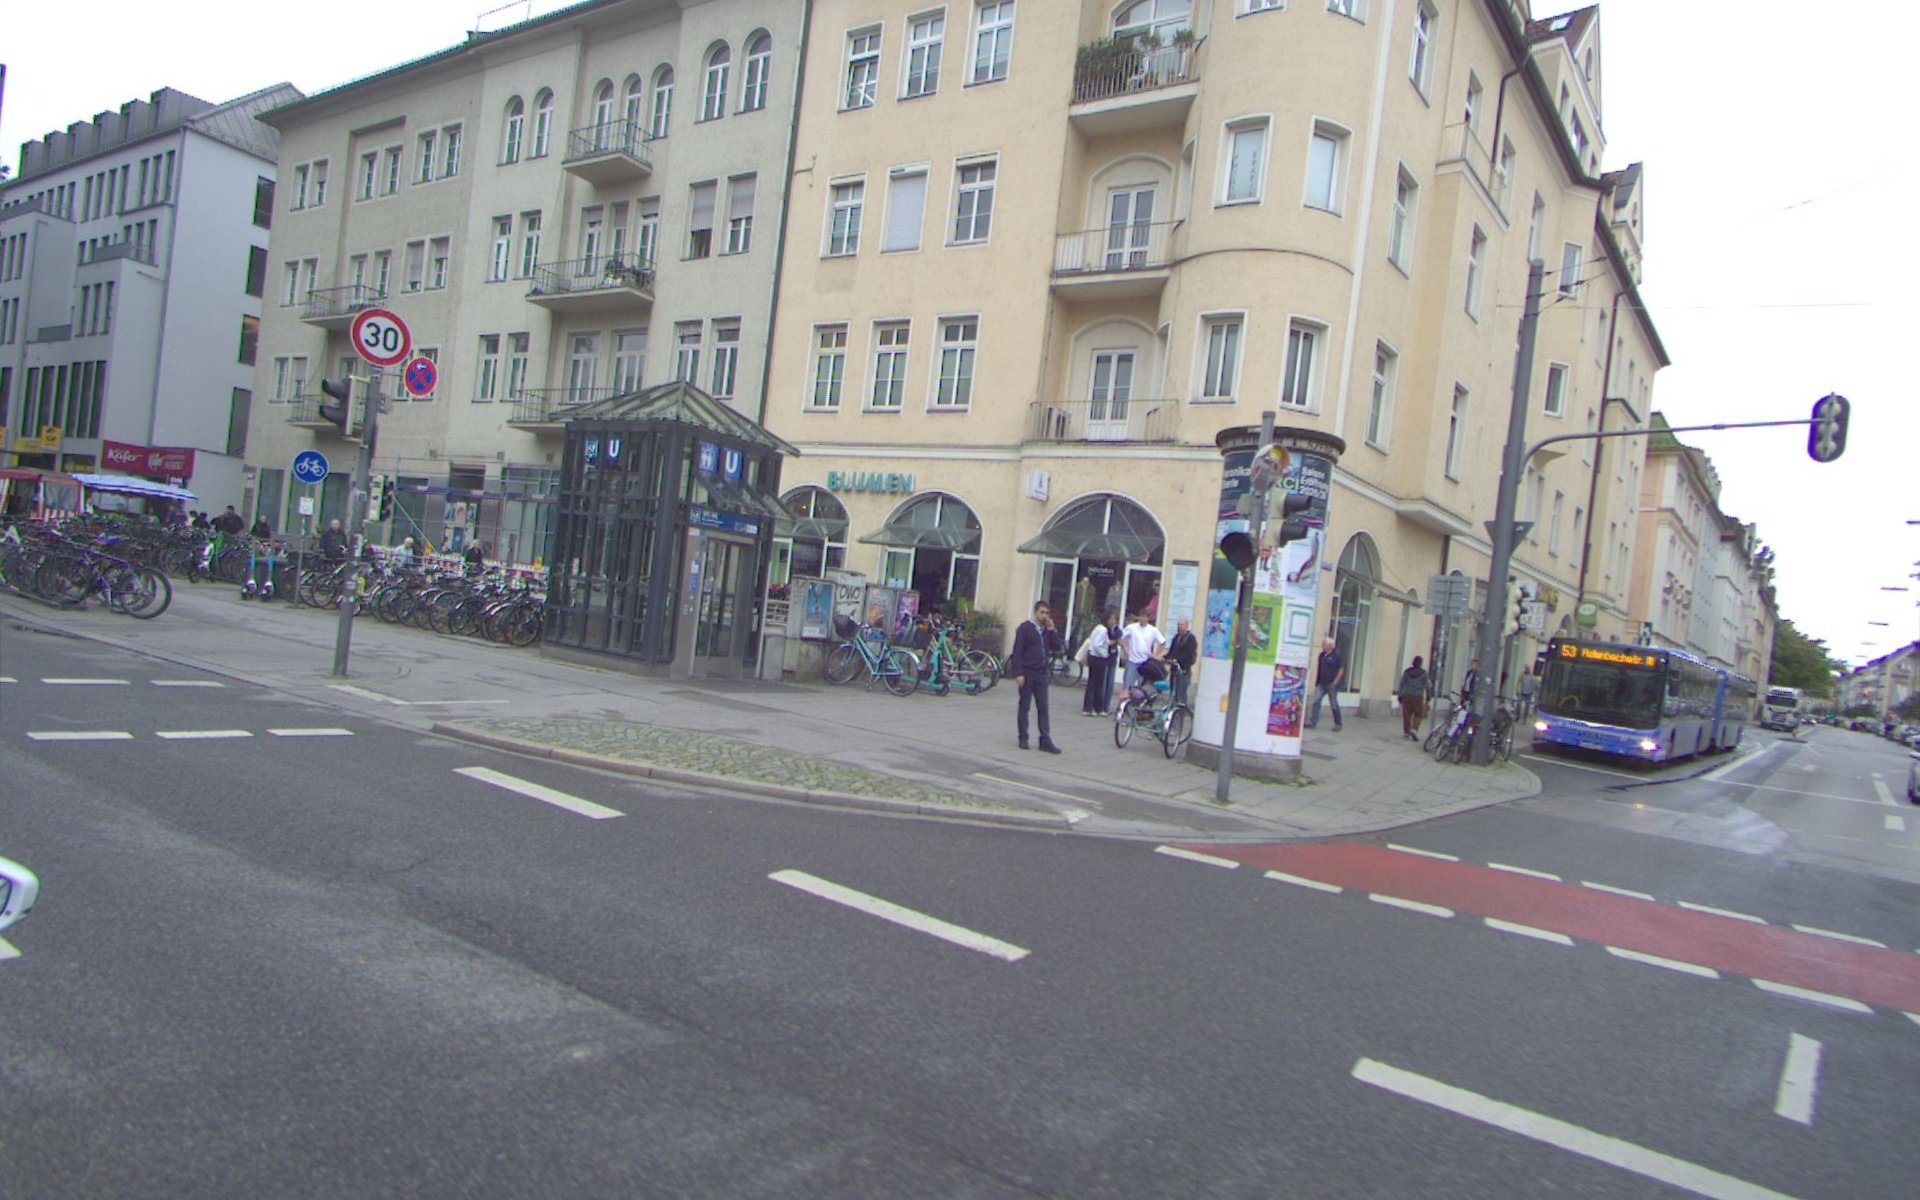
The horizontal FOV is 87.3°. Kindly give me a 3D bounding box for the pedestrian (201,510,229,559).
[{"bbox_3d":[-24.151,-2.119,32.607,0.501,1.502,0.462,6,1,-23],"label":"pedestrian"}]

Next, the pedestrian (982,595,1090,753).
[{"bbox_3d":[0.882,0.852,11.850,0.825,1.712,0.815,6,1,-21],"label":"pedestrian"}]

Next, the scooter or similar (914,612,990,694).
[{"bbox_3d":[-0.136,0.893,17.005,1.133,1.242,0.288,7,1,23],"label":"scooter or similar"}]

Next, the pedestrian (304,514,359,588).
[{"bbox_3d":[-15.993,-1.247,25.601,0.746,1.750,0.813,7,2,32],"label":"pedestrian"}]

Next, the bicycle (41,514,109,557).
[{"bbox_3d":[-23.471,-1.699,26.699,0.364,0.975,1.259,7,1,41],"label":"bicycle"}]

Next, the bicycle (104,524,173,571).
[{"bbox_3d":[-19.891,-1.255,24.366,0.363,0.975,1.181,7,0,36],"label":"bicycle"}]

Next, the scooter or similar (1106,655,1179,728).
[{"bbox_3d":[2.877,1.437,15.837,0.815,1.007,0.587,7,3,-36],"label":"scooter or similar"}]

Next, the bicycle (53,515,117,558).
[{"bbox_3d":[-22.820,-1.635,26.252,0.362,0.975,1.229,7,0,10],"label":"bicycle"}]

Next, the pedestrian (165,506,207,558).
[{"bbox_3d":[-25.088,-2.193,32.617,0.801,1.541,0.795,6,1,-25],"label":"pedestrian"}]

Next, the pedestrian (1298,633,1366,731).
[{"bbox_3d":[7.131,1.575,19.276,0.678,1.727,0.737,6,4,-43],"label":"pedestrian"}]

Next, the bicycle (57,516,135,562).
[{"bbox_3d":[-21.880,-1.527,25.502,0.363,0.975,1.405,7,0,27],"label":"bicycle"}]

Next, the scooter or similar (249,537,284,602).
[{"bbox_3d":[-13.282,-0.594,19.290,0.297,1.190,1.268,6,1,-27],"label":"scooter or similar"}]

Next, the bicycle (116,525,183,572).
[{"bbox_3d":[-19.345,-1.213,24.034,0.364,0.975,1.133,7,1,37],"label":"bicycle"}]

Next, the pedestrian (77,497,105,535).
[{"bbox_3d":[-34.328,-3.314,39.754,0.570,1.420,0.599,7,1,32],"label":"pedestrian"}]

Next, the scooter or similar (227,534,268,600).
[{"bbox_3d":[-13.672,-0.648,19.321,0.360,1.190,1.337,6,1,-27],"label":"scooter or similar"}]

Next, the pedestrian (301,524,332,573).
[{"bbox_3d":[-23.383,-1.868,36.577,0.553,1.665,0.641,7,1,32],"label":"pedestrian"}]

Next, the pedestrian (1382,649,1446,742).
[{"bbox_3d":[9.031,1.896,20.011,0.736,1.707,0.679,11,4,41],"label":"pedestrian"}]

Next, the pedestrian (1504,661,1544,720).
[{"bbox_3d":[17.983,2.877,32.072,0.736,1.748,0.722,11,4,41],"label":"pedestrian"}]

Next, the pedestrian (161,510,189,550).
[{"bbox_3d":[-29.804,-2.646,38.180,0.570,1.420,0.575,7,1,32],"label":"pedestrian"}]

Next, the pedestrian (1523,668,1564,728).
[{"bbox_3d":[18.078,3.035,31.167,0.736,1.748,0.722,11,4,41],"label":"pedestrian"}]

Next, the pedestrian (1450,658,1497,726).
[{"bbox_3d":[13.917,2.502,27.251,0.736,1.707,0.722,11,4,41],"label":"pedestrian"}]

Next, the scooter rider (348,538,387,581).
[{"bbox_3d":[-18.186,-1.239,30.865,0.707,1.235,0.686,7,2,30],"label":"scooter rider"}]

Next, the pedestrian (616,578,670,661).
[{"bbox_3d":[-6.799,0.426,21.579,0.710,1.692,0.657,7,2,33],"label":"pedestrian"}]

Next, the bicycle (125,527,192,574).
[{"bbox_3d":[-18.972,-1.168,23.820,0.364,0.975,1.133,7,1,37],"label":"bicycle"}]

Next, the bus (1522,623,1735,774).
[{"bbox_3d":[18.987,2.764,27.933,2.776,3.004,13.537,8,1,42],"label":"bus"}]

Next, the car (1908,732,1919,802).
[{"bbox_3d":[22.243,3.797,22.124,1.869,1.439,3.978,7,0,43],"label":"car"}]

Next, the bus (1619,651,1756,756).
[{"bbox_3d":[26.618,3.764,36.552,2.776,3.004,9.537,8,1,42],"label":"bus"}]

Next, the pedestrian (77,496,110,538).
[{"bbox_3d":[-36.496,-3.485,42.377,0.729,1.622,0.733,7,1,32],"label":"pedestrian"}]

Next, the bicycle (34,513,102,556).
[{"bbox_3d":[-23.874,-1.751,26.946,0.363,0.975,1.261,7,0,34],"label":"bicycle"}]

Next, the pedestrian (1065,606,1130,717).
[{"bbox_3d":[2.213,0.990,16.234,0.562,1.693,0.556,7,4,-36],"label":"pedestrian"}]

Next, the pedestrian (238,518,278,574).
[{"bbox_3d":[-23.431,-1.802,33.580,0.746,1.750,0.742,7,2,32],"label":"pedestrian"}]

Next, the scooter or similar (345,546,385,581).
[{"bbox_3d":[-18.245,-1.117,30.851,1.106,0.956,0.535,7,2,30],"label":"scooter or similar"}]

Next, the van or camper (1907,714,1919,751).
[{"bbox_3d":[63.605,8.764,62.893,6.019,2.306,2.001,7,0,15],"label":"van or camper"}]

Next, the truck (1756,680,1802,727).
[{"bbox_3d":[80.683,10.225,99.327,2.870,3.962,18.826,7,0,39],"label":"truck"}]

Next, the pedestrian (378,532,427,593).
[{"bbox_3d":[-15.295,-1.023,27.604,0.745,1.537,0.778,7,2,30],"label":"pedestrian"}]

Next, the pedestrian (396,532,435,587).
[{"bbox_3d":[-17.022,-1.266,31.447,0.775,1.588,0.649,7,1,33],"label":"pedestrian"}]

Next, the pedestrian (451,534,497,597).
[{"bbox_3d":[-13.743,-0.966,28.439,0.745,1.672,0.751,7,2,30],"label":"pedestrian"}]

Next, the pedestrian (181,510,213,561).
[{"bbox_3d":[-24.141,-2.043,31.832,0.574,1.524,0.612,6,1,-27],"label":"pedestrian"}]

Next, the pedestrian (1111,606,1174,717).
[{"bbox_3d":[3.080,1.030,17.050,0.720,1.727,0.645,9,3,2],"label":"pedestrian"}]

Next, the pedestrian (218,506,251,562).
[{"bbox_3d":[-23.238,-2.097,32.235,0.594,1.690,0.682,6,1,-23],"label":"pedestrian"}]

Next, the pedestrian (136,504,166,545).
[{"bbox_3d":[-30.201,-2.817,37.554,0.570,1.420,0.599,7,1,32],"label":"pedestrian"}]

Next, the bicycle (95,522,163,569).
[{"bbox_3d":[-20.341,-1.327,24.645,0.363,0.975,1.182,7,0,30],"label":"bicycle"}]

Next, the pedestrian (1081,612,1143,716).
[{"bbox_3d":[2.533,1.066,16.794,0.559,1.631,0.560,6,4,-45],"label":"pedestrian"}]

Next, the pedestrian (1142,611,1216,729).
[{"bbox_3d":[3.533,1.122,16.241,0.645,1.774,0.630,7,3,-36],"label":"pedestrian"}]

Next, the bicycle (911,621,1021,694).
[{"bbox_3d":[0.116,1.042,18.330,1.831,1.072,0.496,7,1,17],"label":"bicycle"}]
